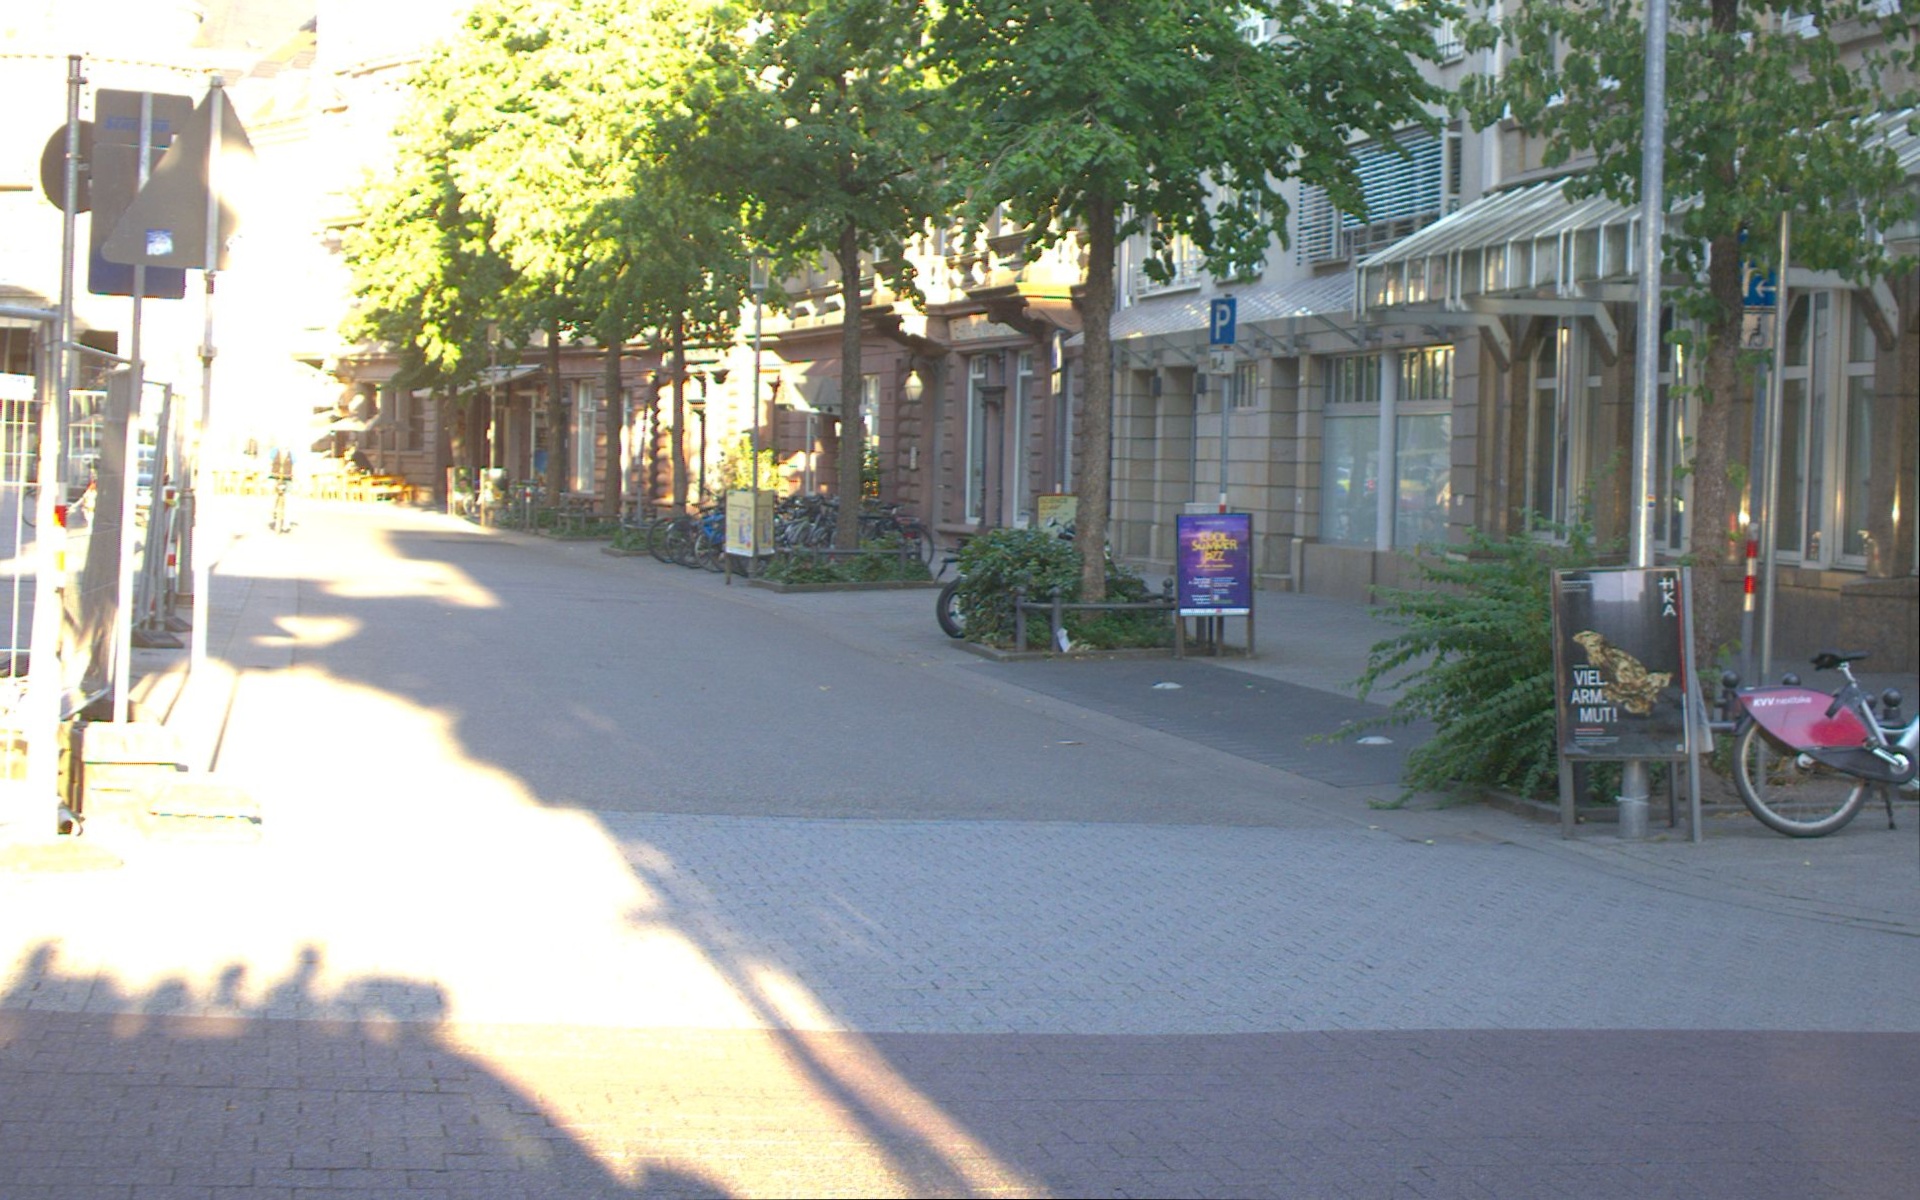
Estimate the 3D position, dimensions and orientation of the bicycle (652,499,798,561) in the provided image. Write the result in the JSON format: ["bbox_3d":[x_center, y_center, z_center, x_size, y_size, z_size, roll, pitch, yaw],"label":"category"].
[{"bbox_3d":[-3.635,-1.079,53.132,2.152,0.922,0.591,1,2,-19],"label":"bicycle"}]

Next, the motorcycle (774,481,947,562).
[{"bbox_3d":[-1.385,-1.094,48.121,2.471,1.091,0.591,0,2,-34],"label":"motorcycle"}]

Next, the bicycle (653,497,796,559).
[{"bbox_3d":[-3.710,-1.130,54.112,2.152,0.922,0.591,1,2,-19],"label":"bicycle"}]

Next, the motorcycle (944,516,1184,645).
[{"bbox_3d":[0.966,-0.179,31.876,2.152,1.147,0.494,1,1,-14],"label":"motorcycle"}]

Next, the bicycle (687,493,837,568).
[{"bbox_3d":[-2.934,-1.031,50.982,2.153,1.057,0.591,1,1,2],"label":"bicycle"}]

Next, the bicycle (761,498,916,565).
[{"bbox_3d":[-1.738,-0.976,49.165,2.152,0.922,0.591,0,2,-27],"label":"bicycle"}]

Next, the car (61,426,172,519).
[{"bbox_3d":[-16.087,-2.435,65.463,1.841,1.678,3.646,1,2,-17],"label":"car"}]

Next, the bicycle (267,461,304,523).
[{"bbox_3d":[-12.249,-1.967,62.394,0.588,1.091,2.161,1,2,-13],"label":"bicycle"}]

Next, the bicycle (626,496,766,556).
[{"bbox_3d":[-4.224,-1.186,55.027,2.152,0.922,0.591,1,2,-19],"label":"bicycle"}]

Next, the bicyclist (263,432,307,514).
[{"bbox_3d":[-12.250,-2.308,62.355,0.721,1.463,0.718,1,2,-13],"label":"bicyclist"}]

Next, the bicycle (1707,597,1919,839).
[{"bbox_3d":[4.323,0.529,15.827,1.656,1.047,0.663,-1,3,7],"label":"bicycle"}]
